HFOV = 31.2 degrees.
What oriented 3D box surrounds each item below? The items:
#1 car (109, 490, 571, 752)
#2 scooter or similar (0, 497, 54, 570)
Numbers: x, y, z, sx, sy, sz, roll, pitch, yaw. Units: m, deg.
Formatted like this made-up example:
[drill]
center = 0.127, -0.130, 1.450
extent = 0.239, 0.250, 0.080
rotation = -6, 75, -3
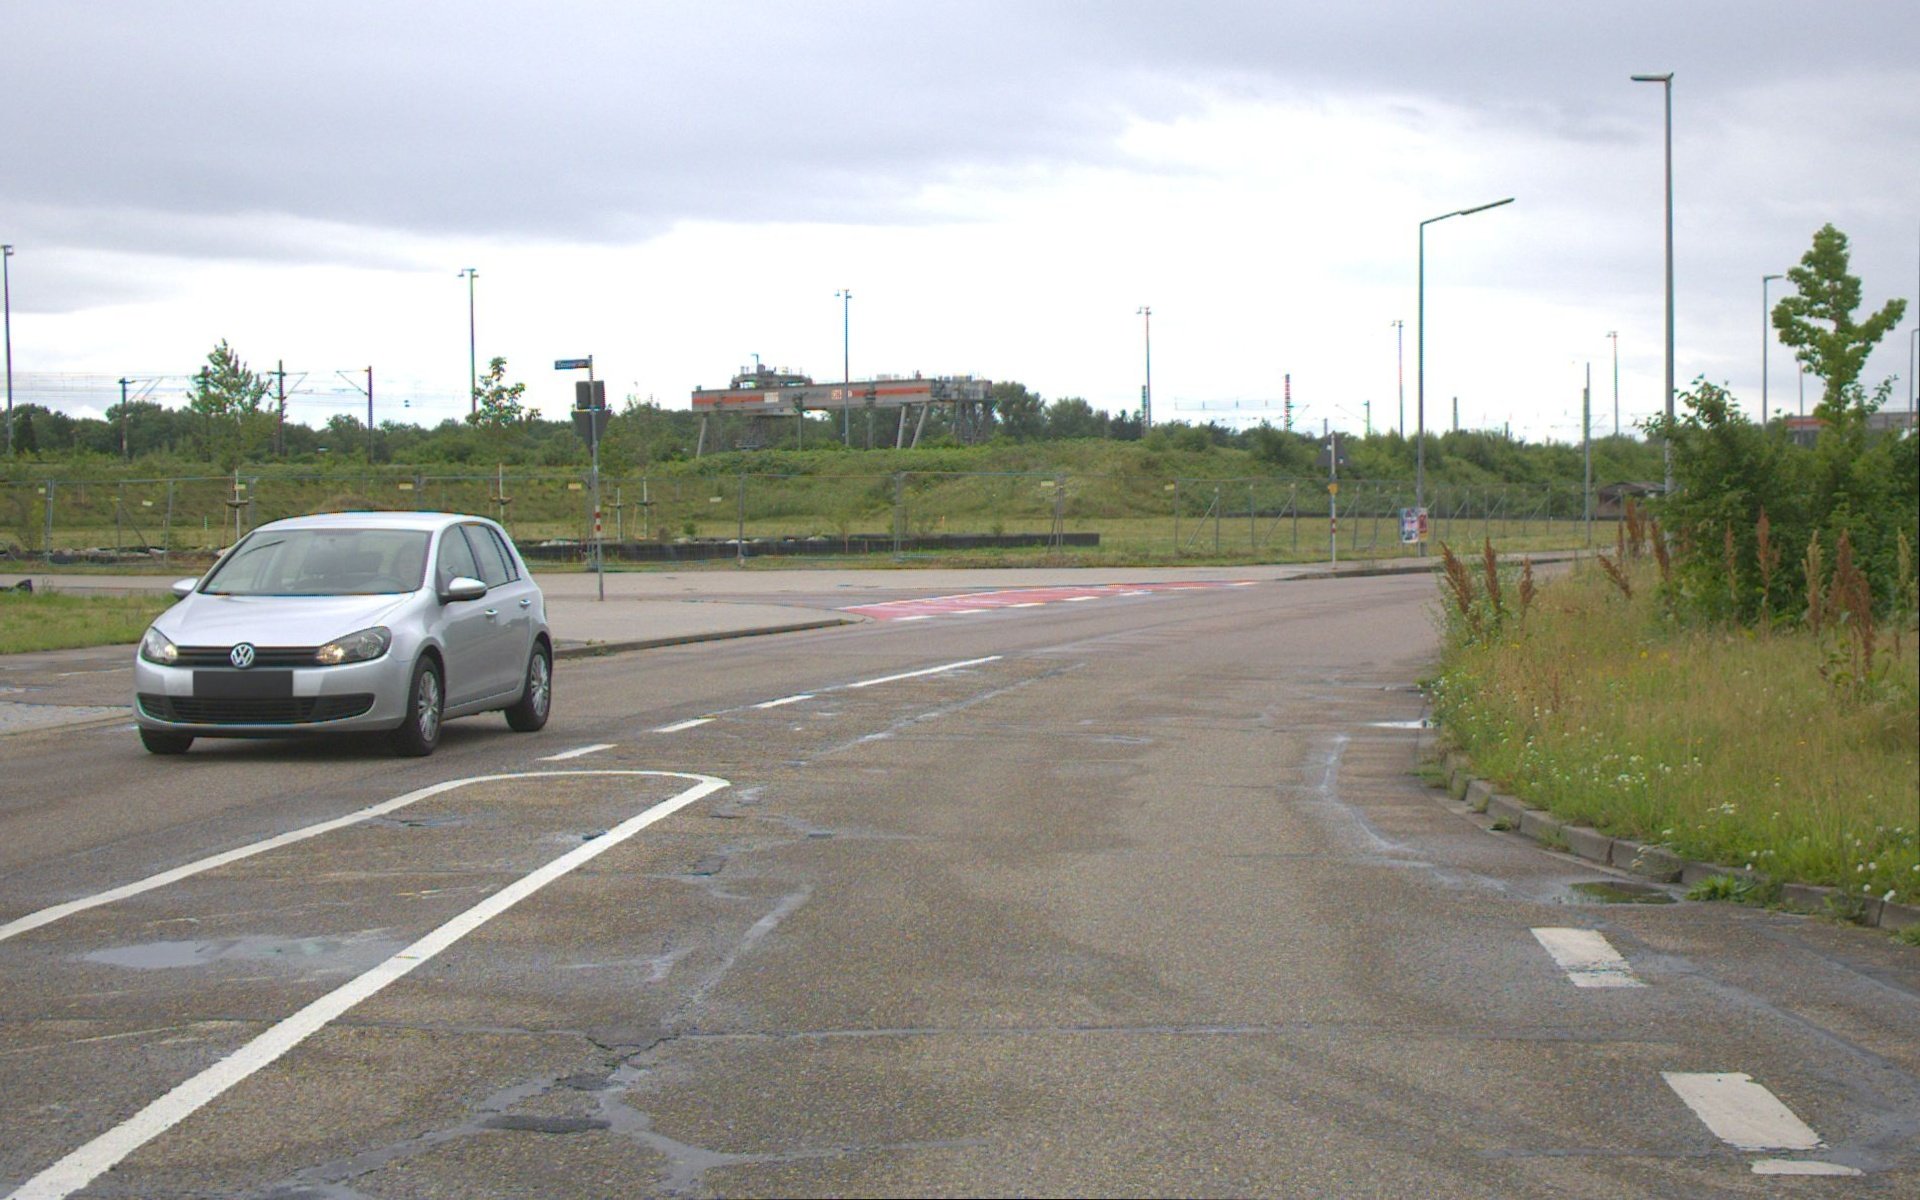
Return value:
[car]
center = -3.808, 0.056, 21.825
extent = 1.672, 1.456, 4.055
rotation = 2, 2, 8
[scooter or similar]
center = -15.497, -1.079, 55.694
extent = 1.463, 1.164, 0.571
rotation = 1, 2, 9
